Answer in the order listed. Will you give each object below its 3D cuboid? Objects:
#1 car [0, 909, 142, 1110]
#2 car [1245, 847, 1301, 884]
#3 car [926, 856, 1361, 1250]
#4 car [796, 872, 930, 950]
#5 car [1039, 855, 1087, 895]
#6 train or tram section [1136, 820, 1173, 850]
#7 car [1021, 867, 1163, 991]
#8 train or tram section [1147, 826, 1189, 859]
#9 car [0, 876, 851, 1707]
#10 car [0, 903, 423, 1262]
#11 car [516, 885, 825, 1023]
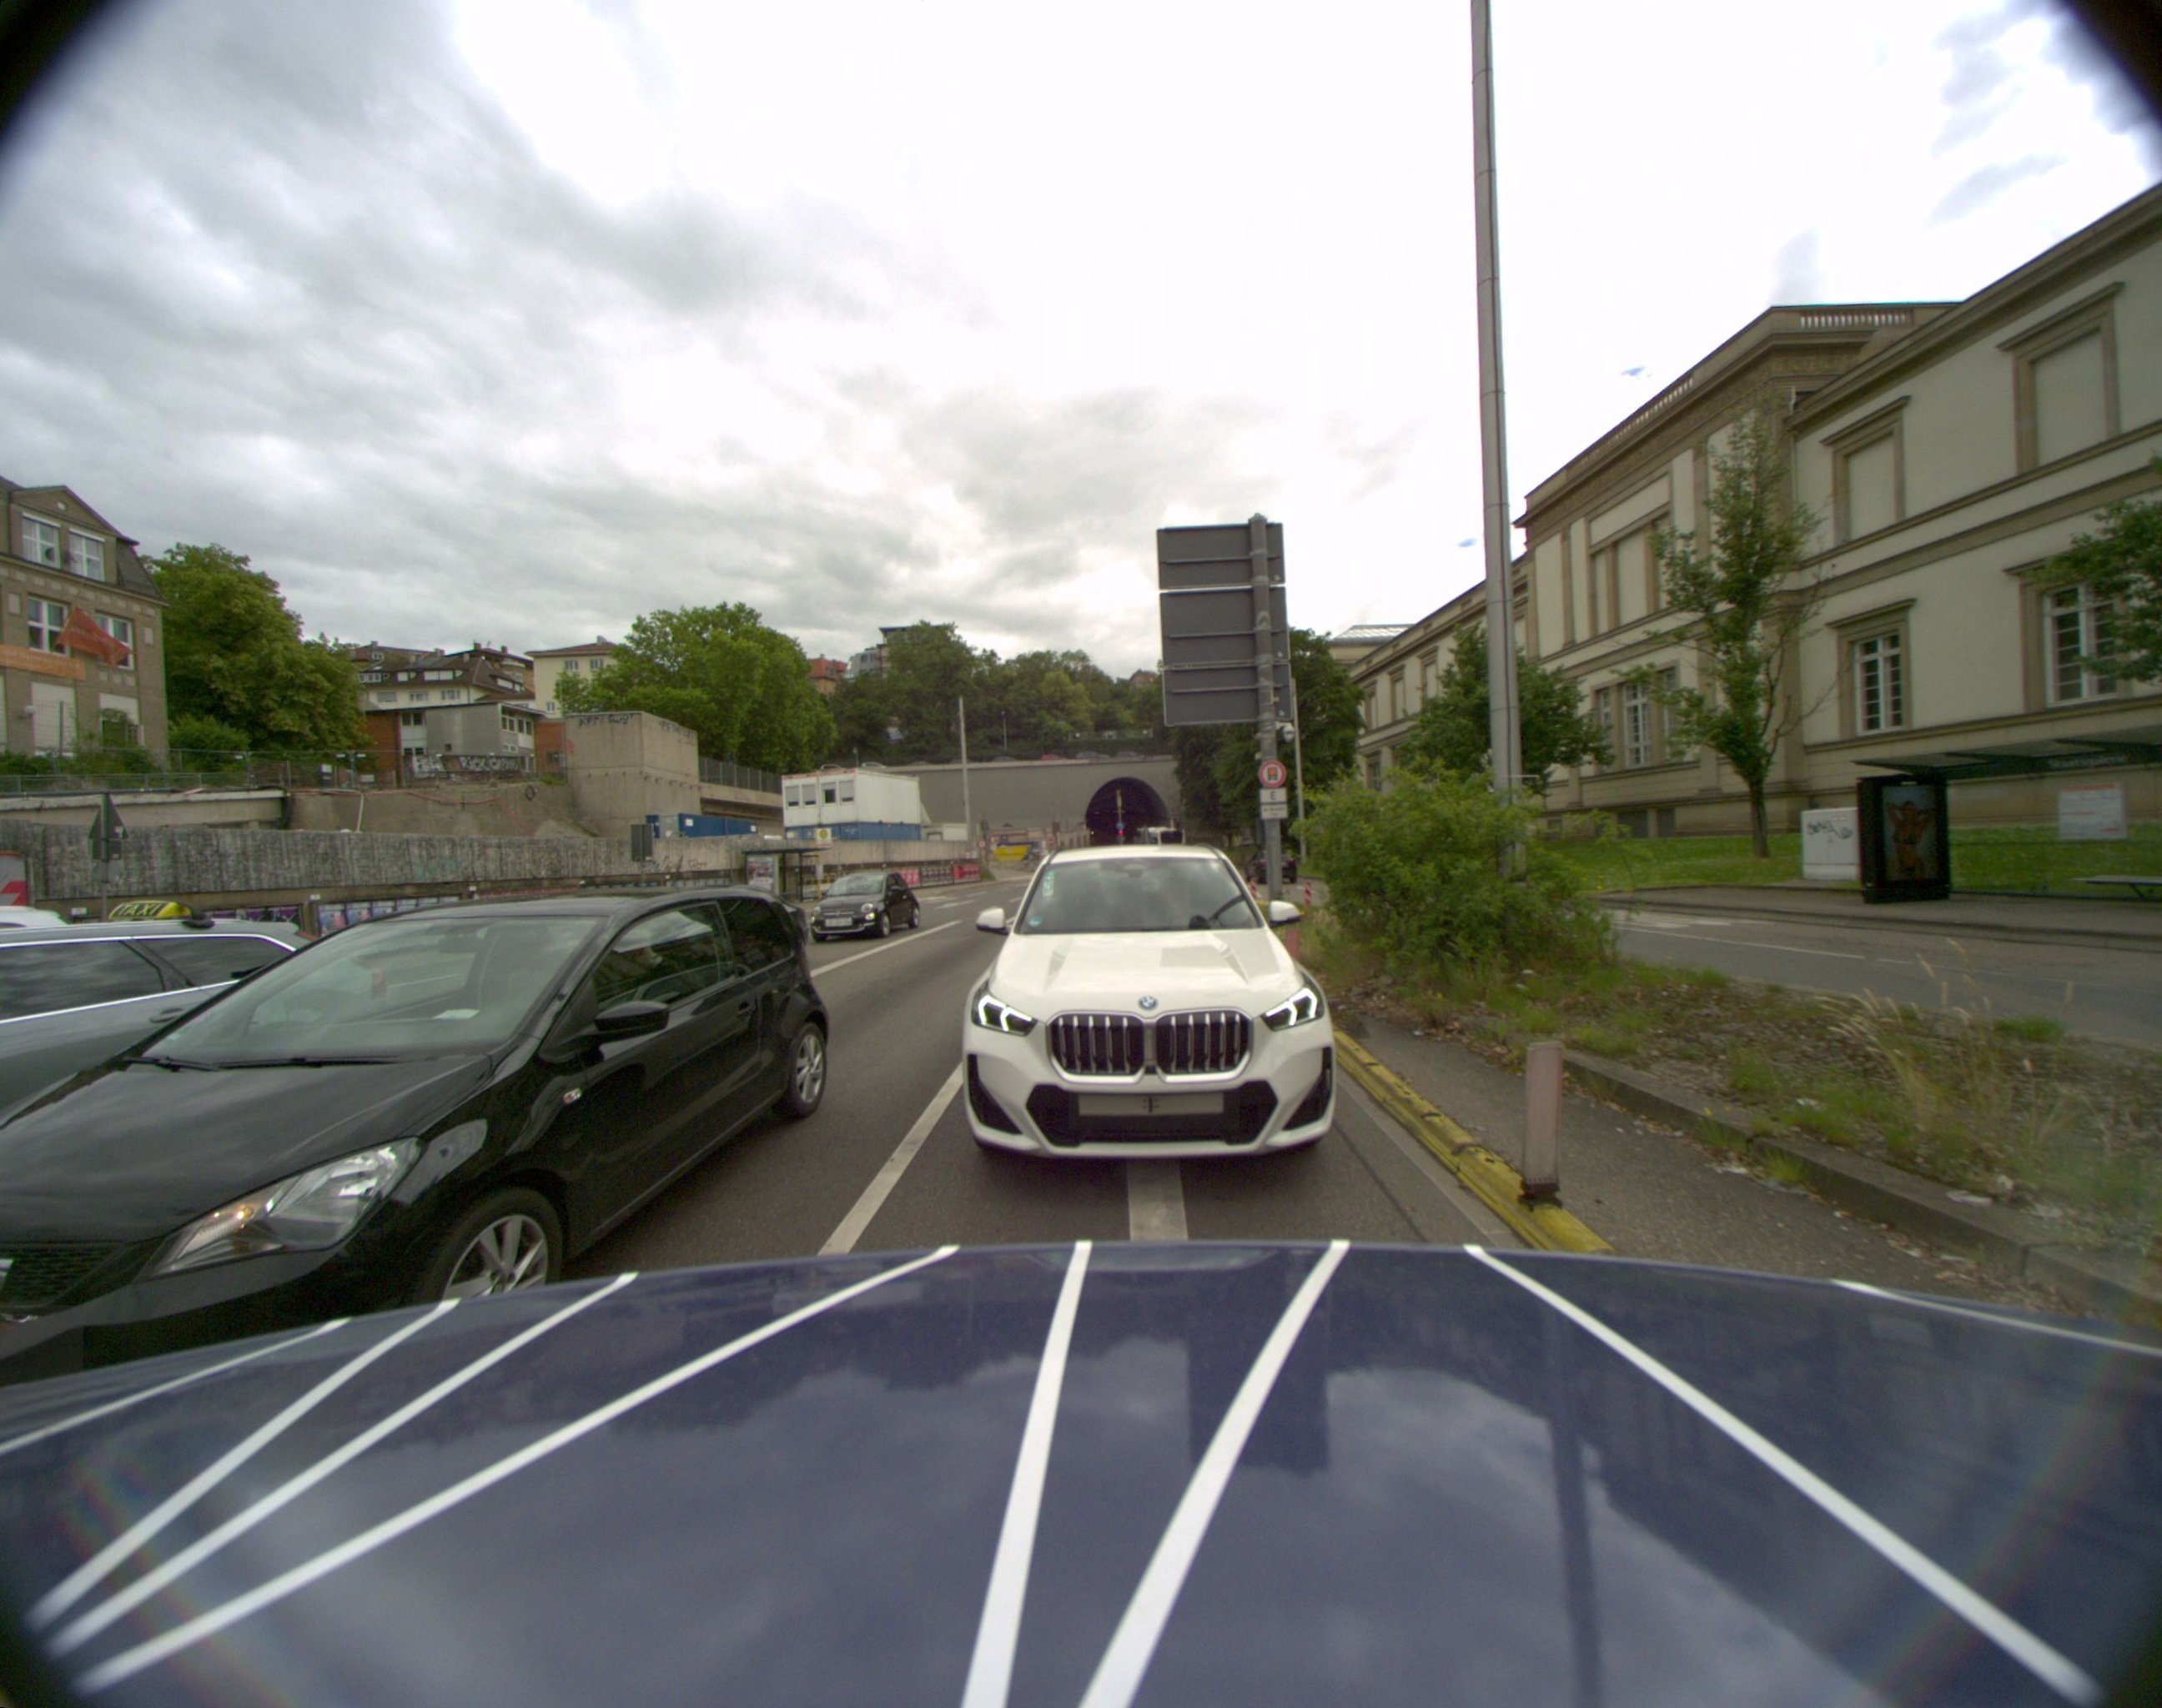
[{"bbox_3d":[-9.146,1.263,4.582,1.826,1.457,4.073,-2,1,0],"label":"car"},{"bbox_3d":[9.381,0.520,37.434,1.884,1.616,4.372,-2,1,4],"label":"car"},{"bbox_3d":[0.344,0.852,5.125,1.756,1.547,3.911,-2,1,3],"label":"car"},{"bbox_3d":[-4.930,1.236,17.726,1.720,1.450,3.782,-3,0,4],"label":"car"},{"bbox_3d":[-0.761,0.909,34.661,1.948,1.565,3.999,-2,1,1],"label":"car"},{"bbox_3d":[8.092,-2.013,84.888,2.701,3.053,9.374,-1,0,-3],"label":"train or tram section"},{"bbox_3d":[0.227,0.995,11.601,1.756,1.427,3.911,-2,0,3],"label":"car"},{"bbox_3d":[8.538,-1.057,75.581,2.701,3.053,9.334,-1,0,-3],"label":"train or tram section"},{"bbox_3d":[-2.525,0.982,3.278,1.661,1.547,3.911,-2,1,3],"label":"car"},{"bbox_3d":[-5.820,1.147,3.458,1.826,1.457,4.217,-2,1,2],"label":"car"},{"bbox_3d":[-5.394,1.231,10.764,1.826,1.356,4.219,-2,0,4],"label":"car"}]
